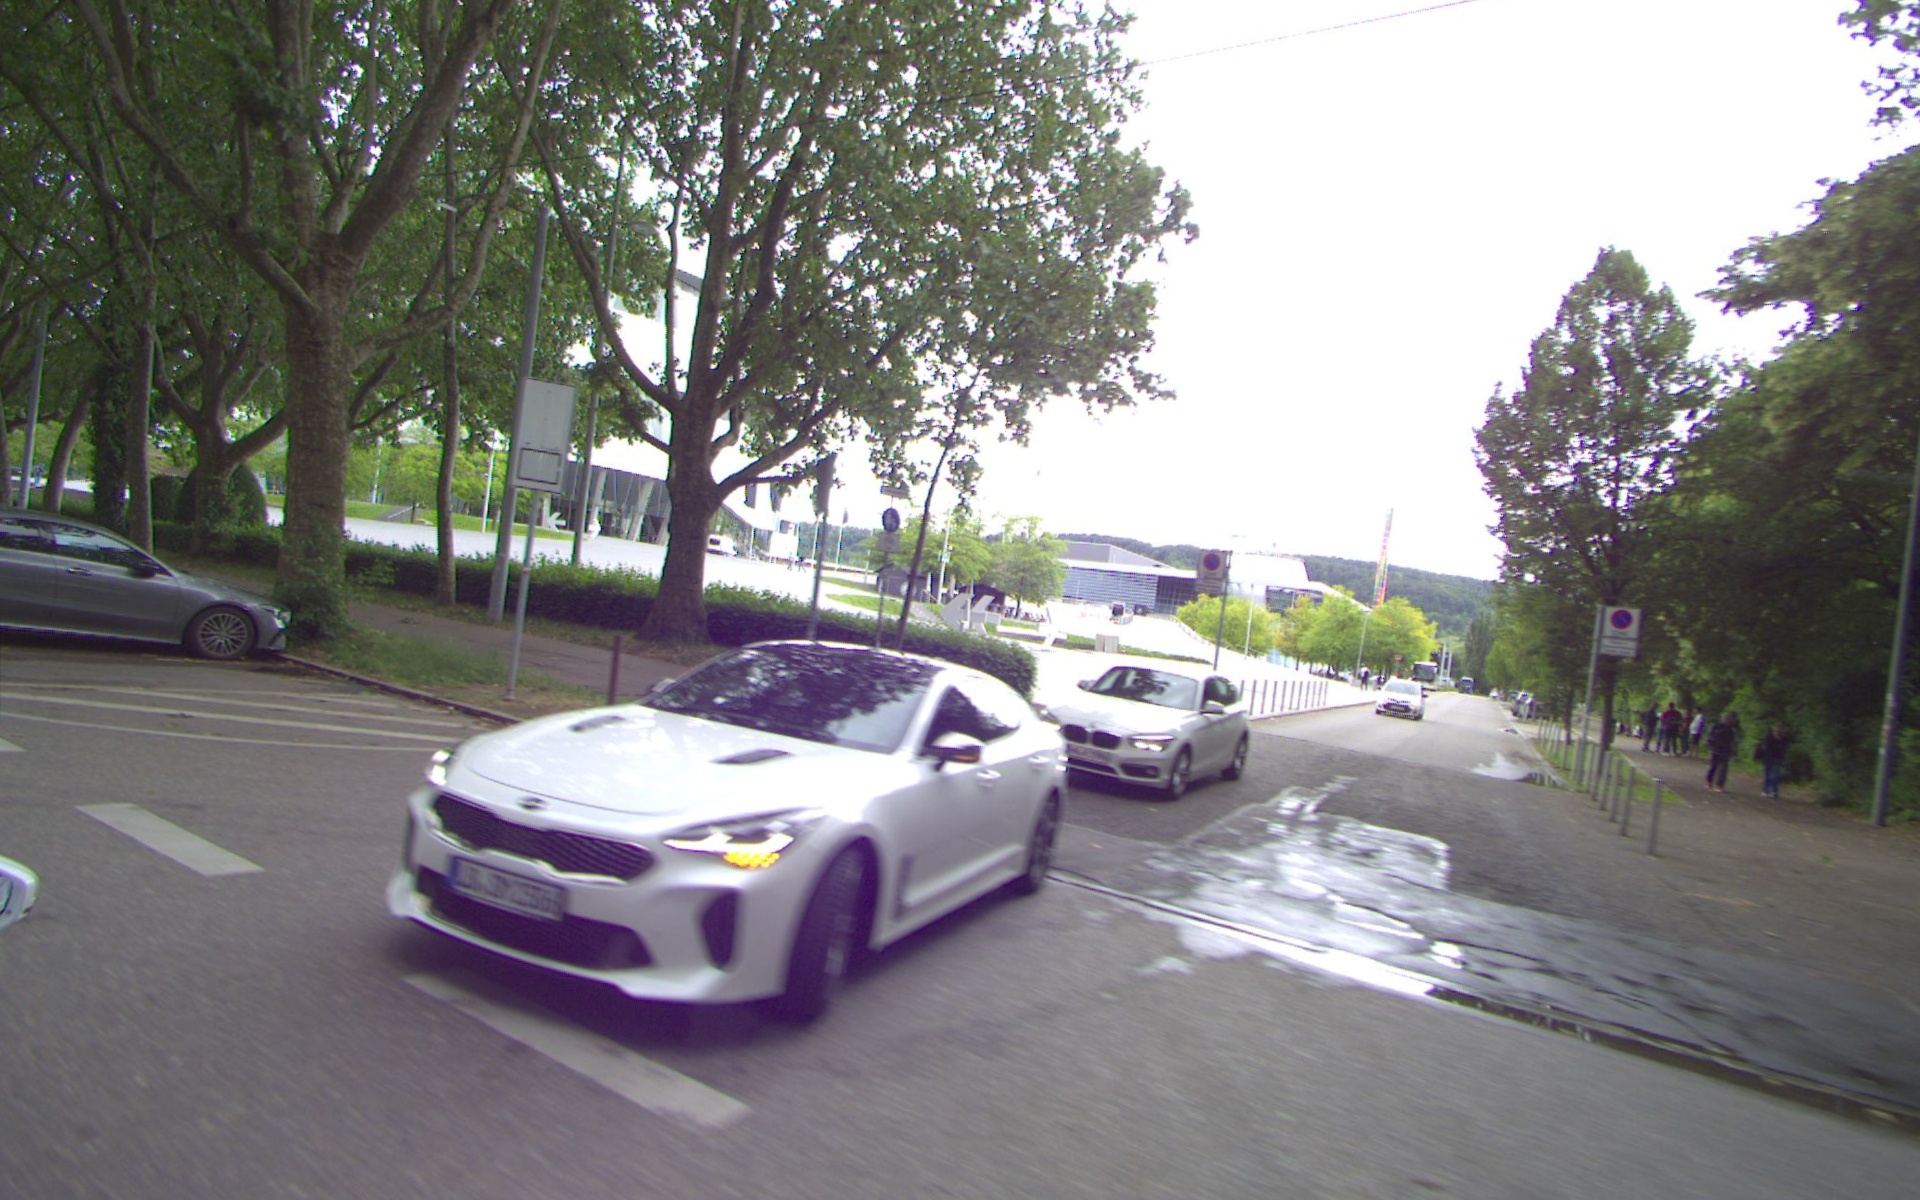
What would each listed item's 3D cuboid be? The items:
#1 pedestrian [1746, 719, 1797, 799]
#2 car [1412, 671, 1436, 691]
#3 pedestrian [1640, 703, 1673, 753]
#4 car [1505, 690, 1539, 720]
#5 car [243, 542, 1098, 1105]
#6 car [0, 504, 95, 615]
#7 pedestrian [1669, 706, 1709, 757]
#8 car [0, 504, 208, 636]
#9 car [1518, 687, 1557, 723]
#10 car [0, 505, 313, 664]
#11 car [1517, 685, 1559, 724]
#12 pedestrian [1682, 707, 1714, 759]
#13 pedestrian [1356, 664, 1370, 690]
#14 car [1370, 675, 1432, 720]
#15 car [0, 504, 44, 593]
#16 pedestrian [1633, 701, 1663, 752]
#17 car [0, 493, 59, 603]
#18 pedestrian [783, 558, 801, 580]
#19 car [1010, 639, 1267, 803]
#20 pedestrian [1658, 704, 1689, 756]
[{"bbox_3d":[17.400,3.392,21.594,0.688,1.586,0.723,6,-1,37],"label":"pedestrian"},{"bbox_3d":[58.023,10.132,125.745,1.968,2.037,3.993,6,-2,33],"label":"car"},{"bbox_3d":[25.043,4.594,36.181,0.686,1.663,0.725,7,-1,24],"label":"pedestrian"},{"bbox_3d":[43.584,8.135,77.944,1.967,2.037,3.995,6,-2,32],"label":"car"},{"bbox_3d":[-0.783,0.830,5.479,1.963,1.399,4.684,9,-2,20],"label":"car"},{"bbox_3d":[-14.551,-0.787,13.647,1.690,1.433,3.839,7,-2,32],"label":"car"},{"bbox_3d":[25.810,4.645,35.619,0.713,1.663,0.697,7,-1,-13],"label":"pedestrian"},{"bbox_3d":[-12.292,-0.509,12.646,1.877,1.433,4.031,8,-2,26],"label":"car"},{"bbox_3d":[38.322,6.994,66.738,1.967,2.037,3.995,6,-2,32],"label":"car"},{"bbox_3d":[-10.164,-0.250,11.191,1.691,1.433,4.595,7,-2,34],"label":"car"},{"bbox_3d":[35.482,6.417,61.674,1.967,2.037,3.995,6,-2,32],"label":"car"},{"bbox_3d":[25.319,4.564,34.511,0.714,1.663,0.696,6,-1,37],"label":"pedestrian"},{"bbox_3d":[27.388,5.214,68.331,0.686,1.663,0.725,7,-1,24],"label":"pedestrian"},{"bbox_3d":[17.935,3.925,40.816,1.754,1.479,4.285,7,-1,29],"label":"car"},{"bbox_3d":[-18.273,-1.178,16.767,1.754,1.463,4.025,8,-2,32],"label":"car"},{"bbox_3d":[24.236,4.457,35.432,0.714,1.663,0.696,6,-1,37],"label":"pedestrian"},{"bbox_3d":[-16.601,-1.117,14.771,2.020,1.641,4.534,7,-2,32],"label":"car"},{"bbox_3d":[-17.116,-3.126,102.696,1.094,2.037,1.159,6,-1,42],"label":"pedestrian"},{"bbox_3d":[2.429,1.416,12.640,1.754,1.479,4.285,7,-1,29],"label":"car"},{"bbox_3d":[24.270,4.414,34.228,0.688,1.663,0.723,6,-1,37],"label":"pedestrian"}]
